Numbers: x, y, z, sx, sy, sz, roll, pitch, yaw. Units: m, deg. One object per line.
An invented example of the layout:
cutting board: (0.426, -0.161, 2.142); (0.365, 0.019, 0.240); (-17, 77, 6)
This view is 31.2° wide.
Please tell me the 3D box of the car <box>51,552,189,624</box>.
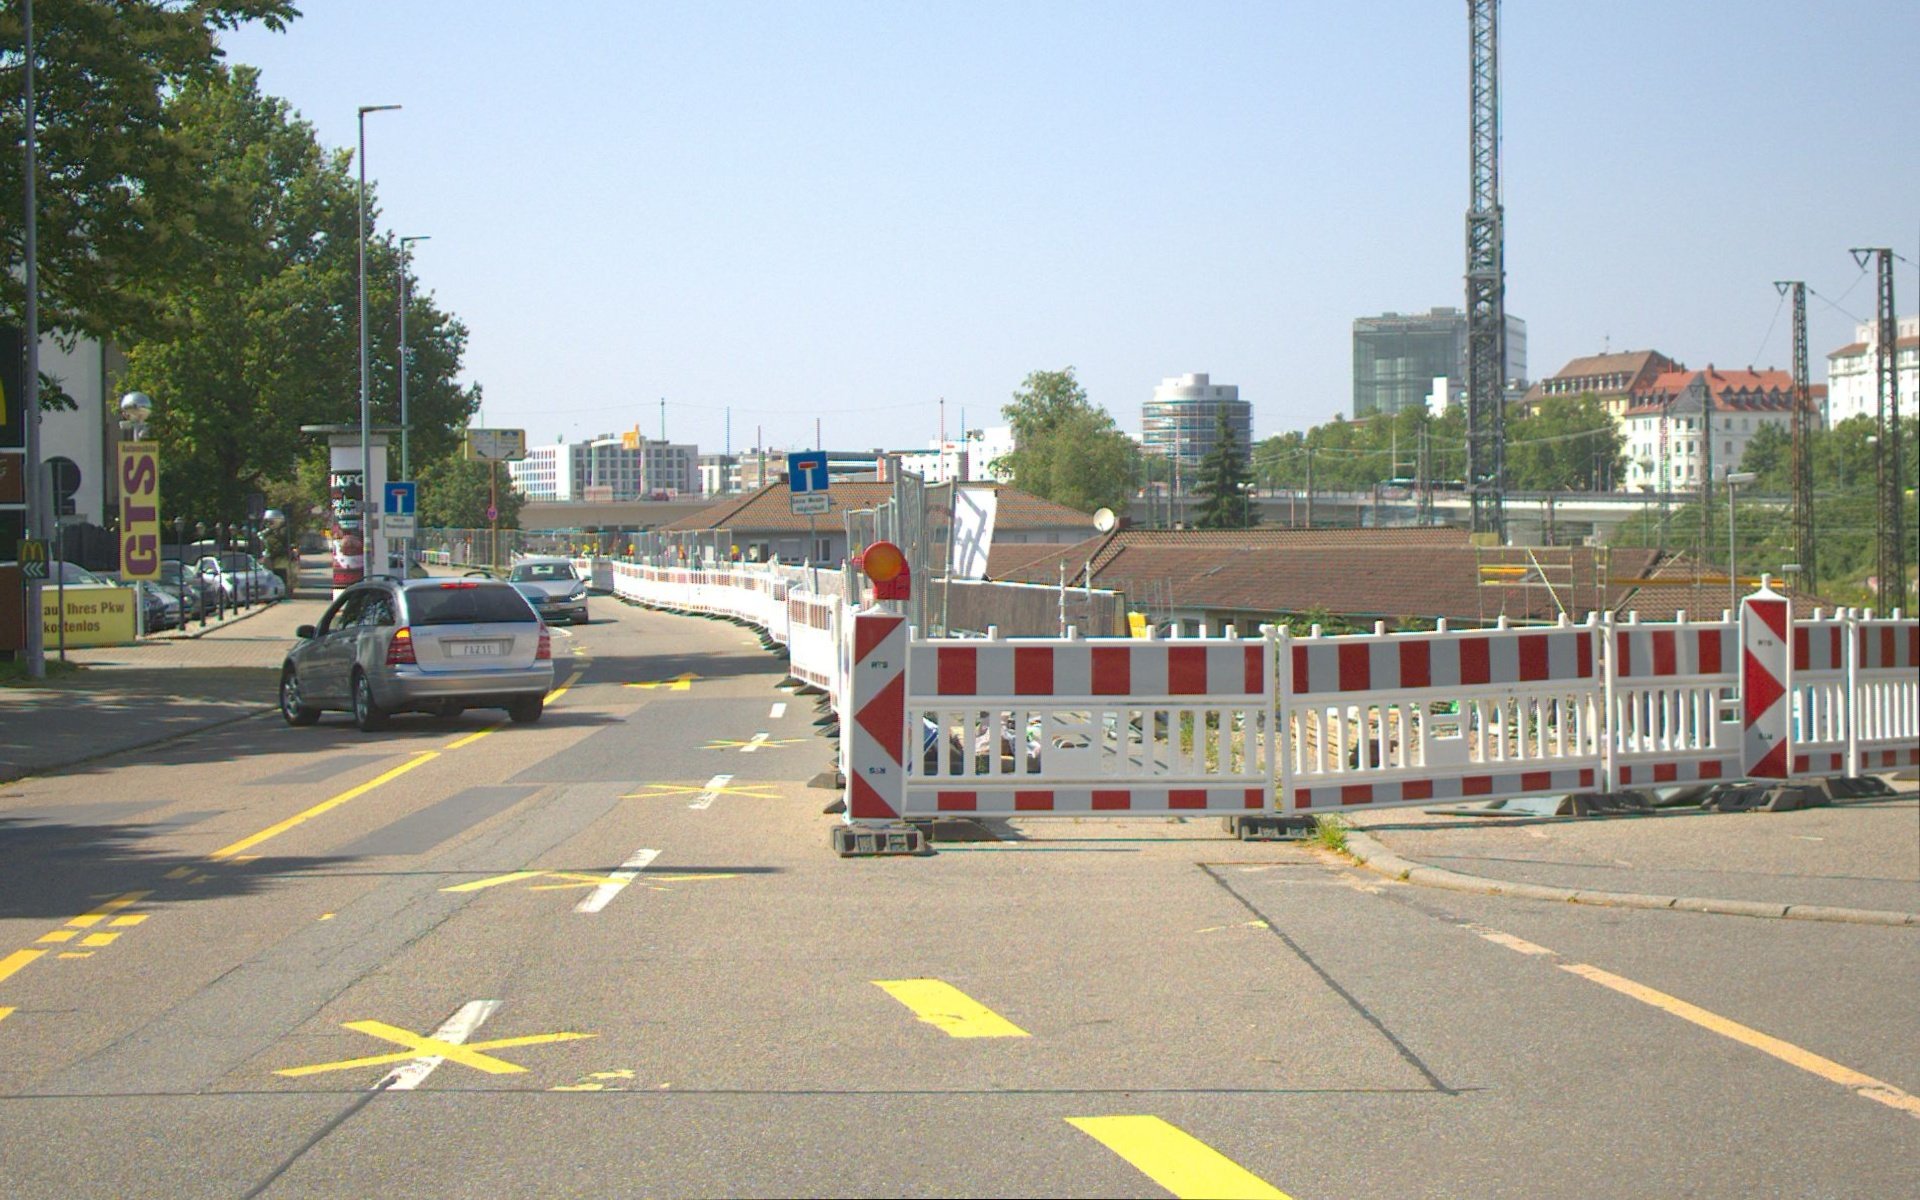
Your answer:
car: (-19.129, -0.264, 78.230); (1.836, 1.468, 4.000); (-5, 2, -31)

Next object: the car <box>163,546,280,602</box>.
car: (-21.586, -0.759, 100.429); (1.777, 1.468, 3.999); (-5, 2, -36)

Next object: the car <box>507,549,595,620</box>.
car: (-9.160, -0.370, 76.758); (1.677, 1.488, 4.607); (-2, 1, -10)

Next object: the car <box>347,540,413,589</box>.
car: (-19.633, -1.219, 116.522); (1.869, 1.493, 4.032); (-2, 2, -6)

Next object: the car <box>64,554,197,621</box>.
car: (-20.206, -0.290, 83.668); (1.780, 1.468, 3.999); (-5, 2, -34)

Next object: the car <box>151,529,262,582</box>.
car: (-27.874, -1.646, 127.173); (3.922, 1.952, 1.760); (0, 1, -16)

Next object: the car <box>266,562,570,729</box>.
car: (-5.233, 0.387, 32.754); (1.708, 1.399, 4.387); (-3, 2, -24)
